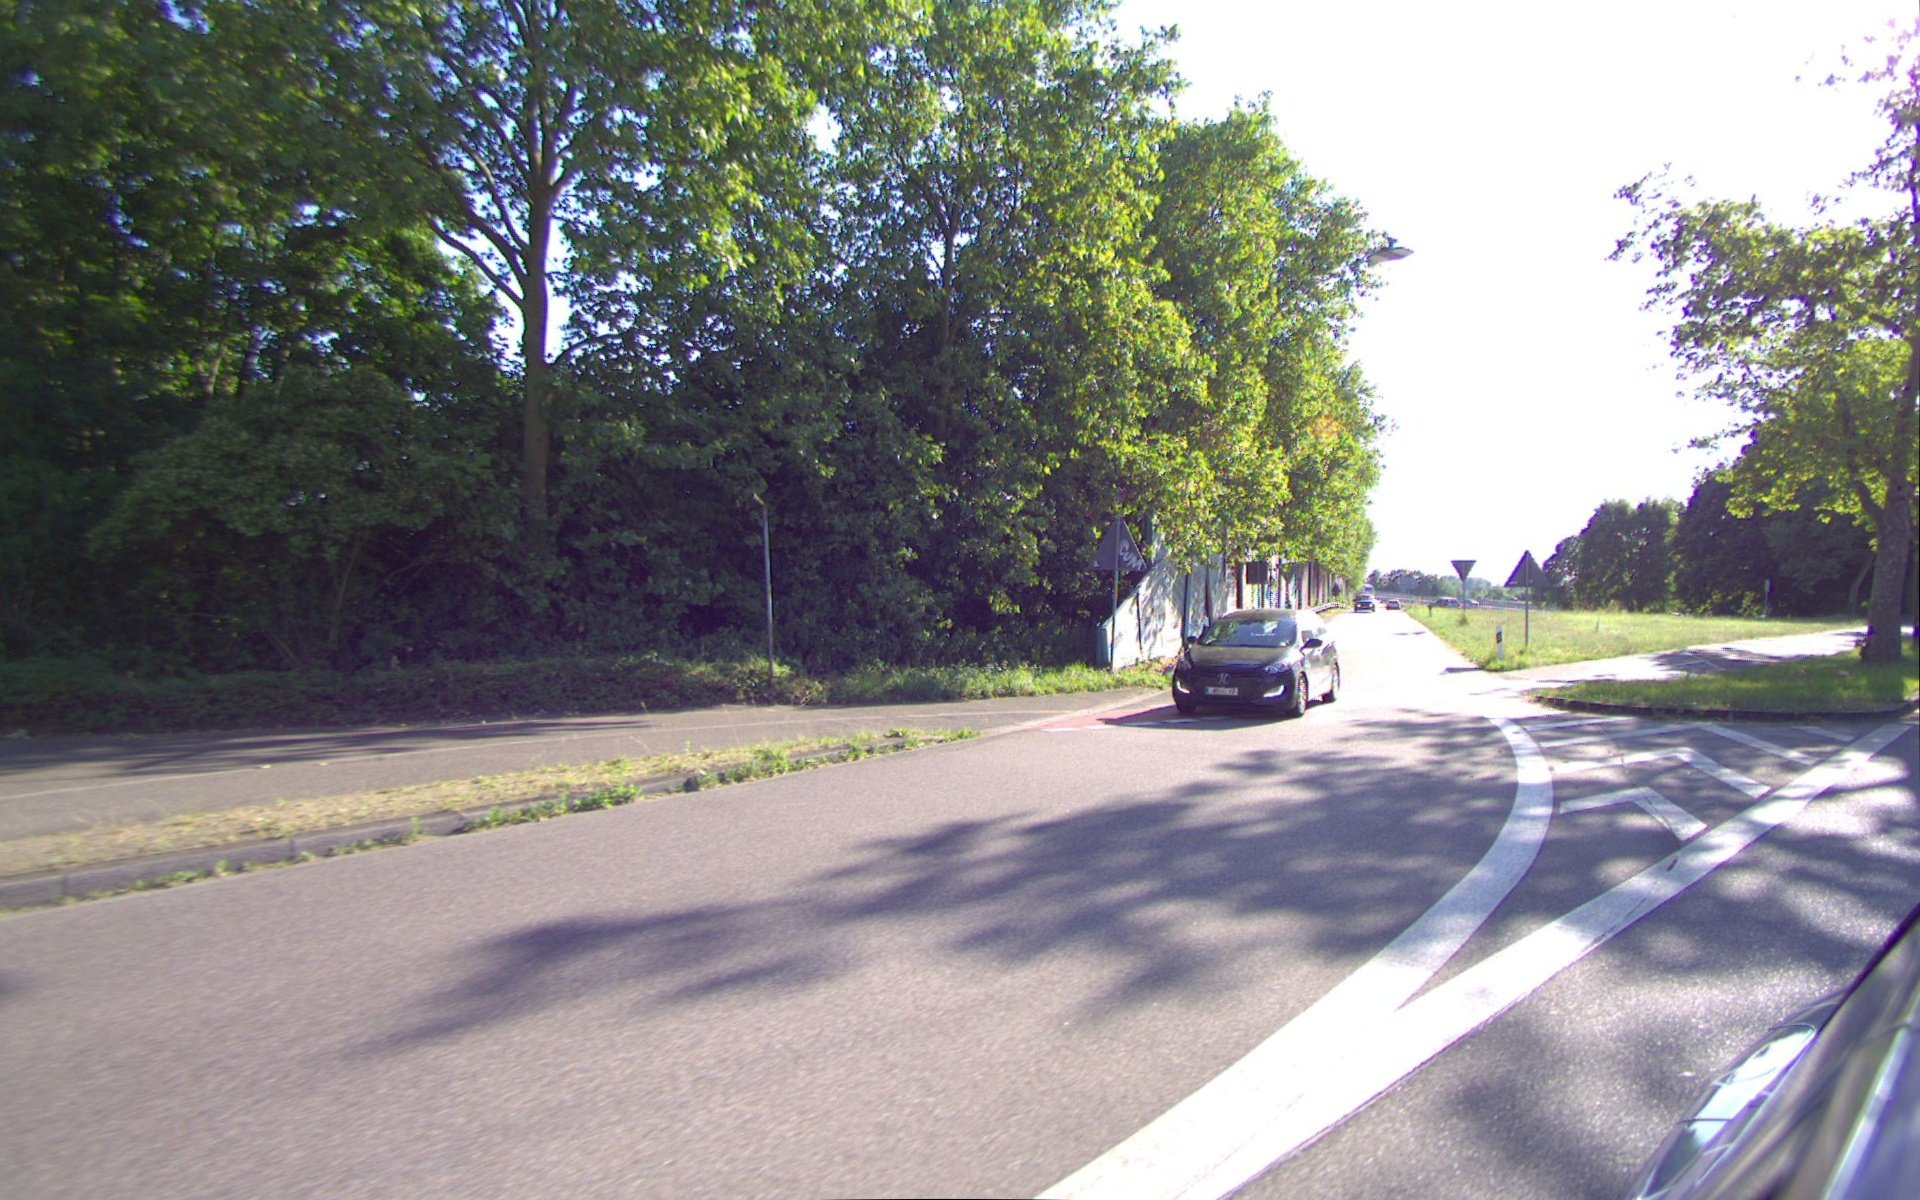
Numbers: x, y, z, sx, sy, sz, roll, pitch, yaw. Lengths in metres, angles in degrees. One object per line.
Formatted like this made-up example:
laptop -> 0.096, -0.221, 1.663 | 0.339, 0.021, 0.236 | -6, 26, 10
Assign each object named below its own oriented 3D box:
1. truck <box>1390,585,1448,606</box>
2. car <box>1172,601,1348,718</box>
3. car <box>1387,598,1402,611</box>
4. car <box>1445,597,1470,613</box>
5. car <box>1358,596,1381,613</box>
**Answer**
truck -> 94.892, -1.021, 209.354 | 10.486, 3.537, 2.633 | 5, 2, 22
car -> 4.657, 0.764, 15.289 | 1.781, 1.458, 4.183 | 0, 0, 28
car -> 62.137, 0.658, 144.656 | 1.796, 1.795, 3.829 | 0, 0, 25
car -> 46.880, 0.450, 95.401 | 1.673, 1.435, 4.107 | 0, 0, 20
car -> 35.010, 0.364, 86.483 | 1.779, 1.458, 4.190 | 0, 0, 24
